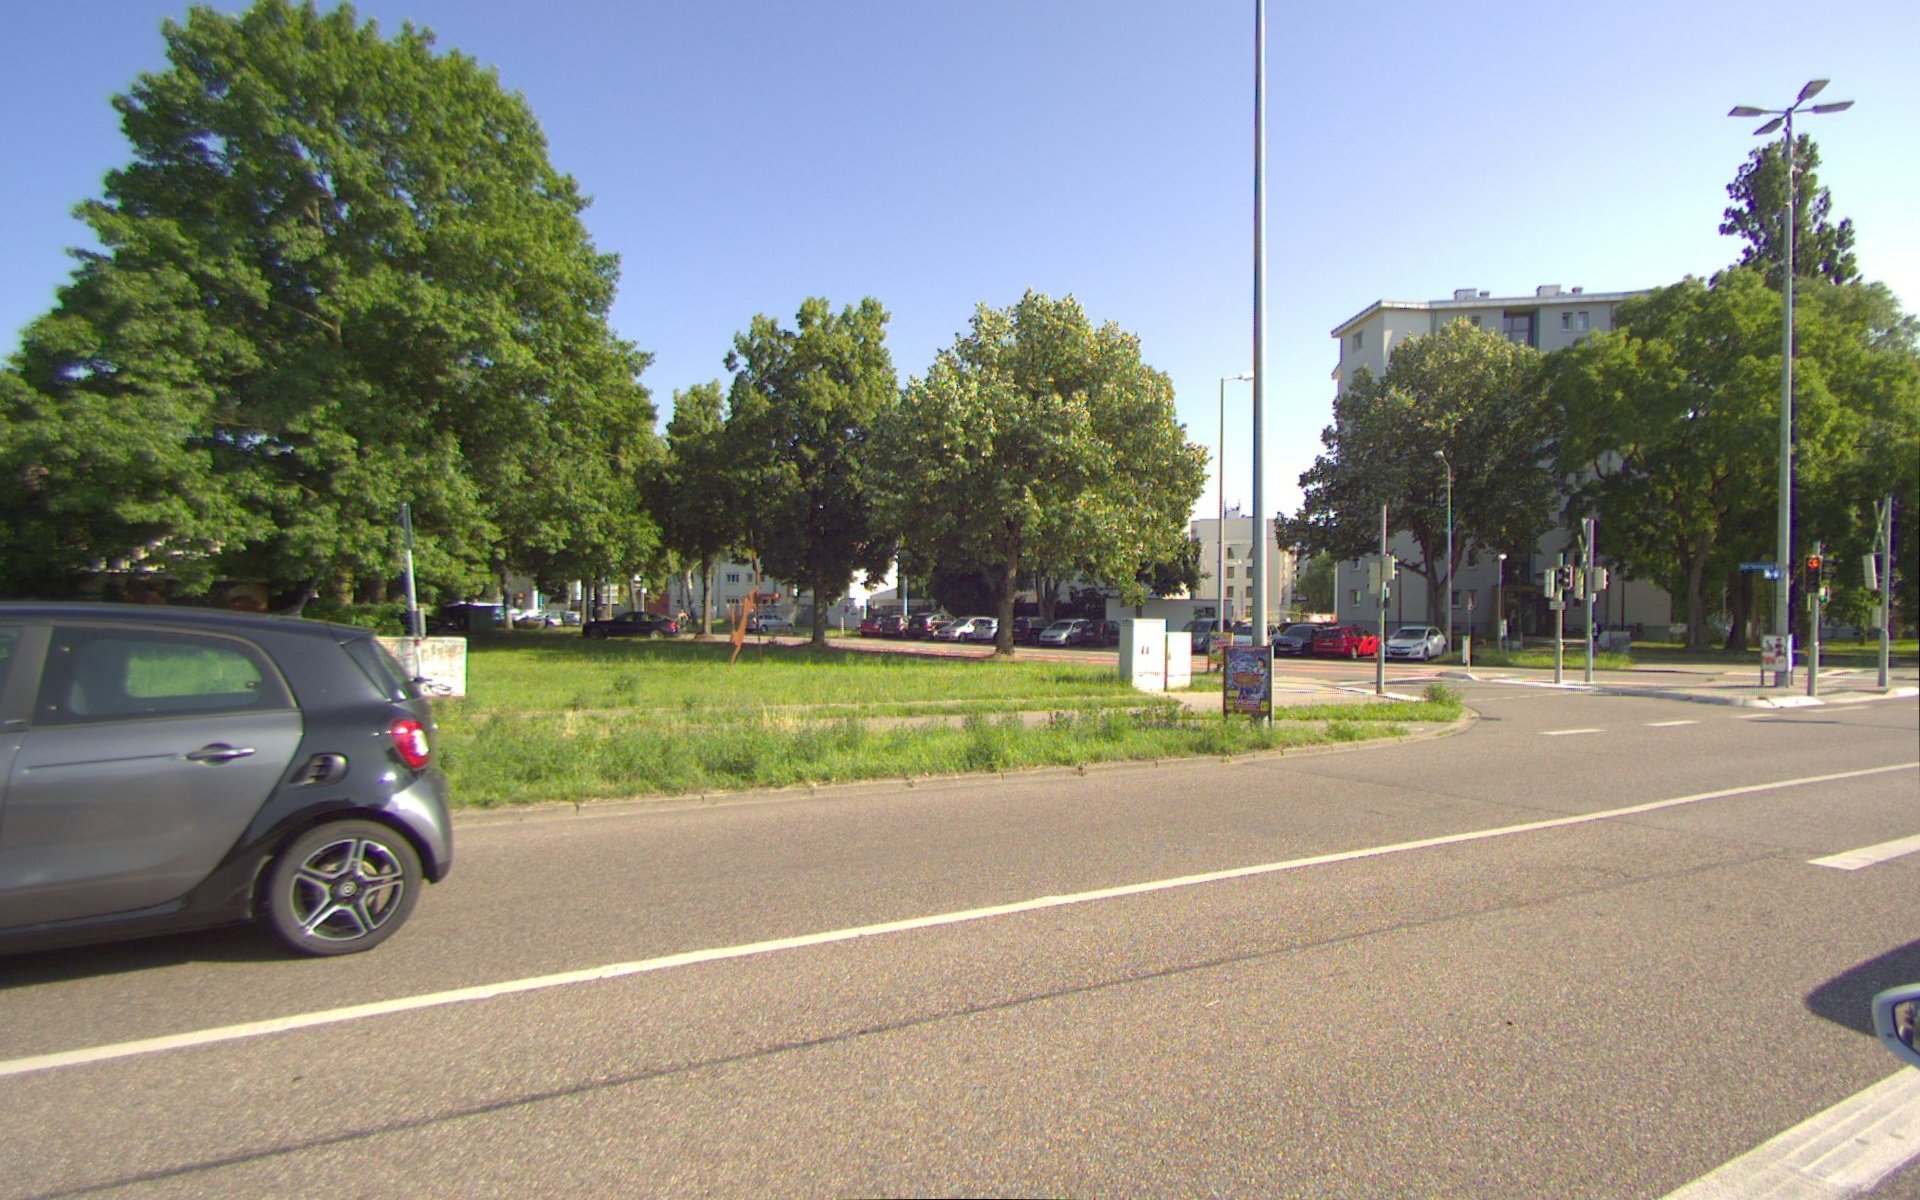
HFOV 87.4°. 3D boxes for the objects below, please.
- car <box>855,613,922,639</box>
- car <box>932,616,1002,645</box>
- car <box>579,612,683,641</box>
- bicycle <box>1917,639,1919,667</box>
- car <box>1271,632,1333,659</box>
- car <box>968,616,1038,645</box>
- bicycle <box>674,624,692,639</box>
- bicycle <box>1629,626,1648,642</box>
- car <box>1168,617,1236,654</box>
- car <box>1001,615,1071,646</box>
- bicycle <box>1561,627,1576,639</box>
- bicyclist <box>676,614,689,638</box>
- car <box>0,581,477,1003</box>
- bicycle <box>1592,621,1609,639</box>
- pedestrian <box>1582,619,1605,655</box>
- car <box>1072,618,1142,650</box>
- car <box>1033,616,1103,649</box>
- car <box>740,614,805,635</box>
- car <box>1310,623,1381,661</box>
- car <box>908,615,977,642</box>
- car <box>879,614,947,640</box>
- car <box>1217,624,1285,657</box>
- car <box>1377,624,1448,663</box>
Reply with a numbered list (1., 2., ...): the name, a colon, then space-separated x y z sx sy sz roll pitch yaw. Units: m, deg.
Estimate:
1. car: -4.829 1.744 68.340 1.758 1.497 4.791 0 2 39
2. car: 0.488 1.860 62.696 1.758 1.497 4.791 0 2 39
3. car: -16.276 1.326 49.931 4.682 1.338 1.524 1 -1 -8
4. bicycle: 36.672 1.976 37.174 2.032 1.054 0.621 1 0 -4
5. car: 16.615 2.202 48.673 1.445 1.209 3.765 0 -1 43
6. car: 2.685 1.815 61.454 1.758 1.497 4.755 0 2 39
7. bicycle: -17.835 2.006 64.603 0.647 0.915 1.793 1 0 -32
8. bicycle: 42.654 2.131 63.163 0.658 0.932 2.404 1 0 26
9. car: 12.657 1.845 52.397 1.759 1.835 3.979 0 -1 41
10. car: 4.586 1.794 59.879 1.758 1.497 4.791 0 3 39
11. bicycle: 39.342 2.100 64.935 0.574 0.718 2.236 1 0 26
12. bicyclist: -17.845 1.660 64.624 0.612 1.544 0.621 -1 1 -35
13. car: -4.208 0.741 4.349 3.637 1.581 1.624 1 -2 -33
14. bicycle: 40.741 1.930 63.901 0.601 1.080 1.916 1 -2 24
15. pedestrian: 30.597 1.781 48.524 0.693 1.736 0.623 0 0 -18
16. car: 8.402 1.890 57.149 1.758 1.497 4.791 0 2 39
17. car: 6.245 1.834 57.803 1.758 1.497 4.692 0 3 39
18. car: -14.222 1.855 76.311 1.760 1.497 4.786 0 -1 43
19. car: 18.216 1.947 47.381 1.761 1.435 3.975 0 3 44
20. car: -1.085 1.810 64.620 1.758 1.497 4.791 0 2 39
21. car: -3.065 1.752 66.873 1.758 1.497 4.791 0 2 39
22. car: 14.679 2.017 50.559 1.759 1.541 3.979 0 -1 41
23. car: 20.473 1.929 45.358 1.760 1.459 3.977 0 2 43
